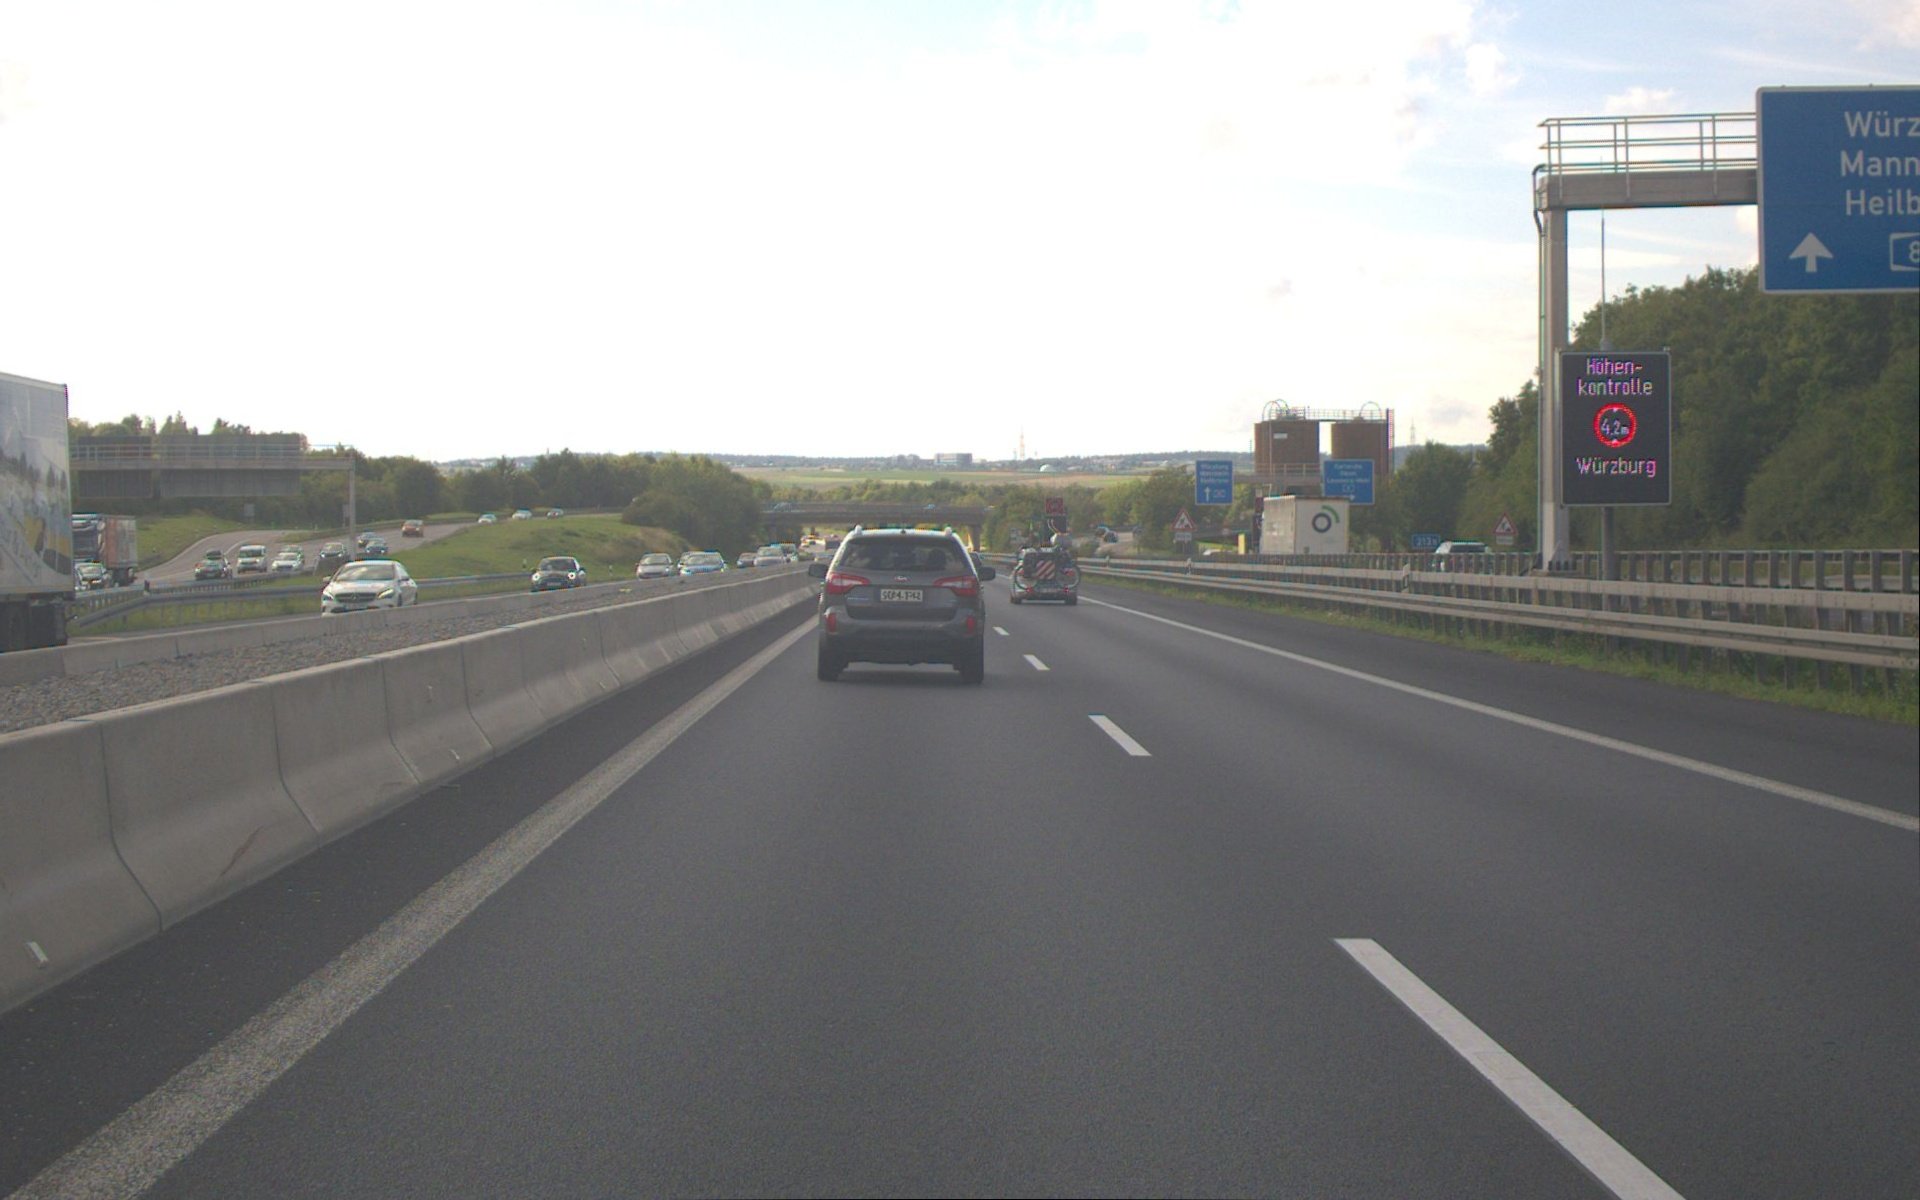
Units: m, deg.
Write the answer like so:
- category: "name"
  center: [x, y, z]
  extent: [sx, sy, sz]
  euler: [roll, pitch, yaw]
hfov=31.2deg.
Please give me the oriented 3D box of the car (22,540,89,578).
- category: "car"
  center: [-39.699, -1.796, 150.972]
  extent: [1.801, 1.612, 4.302]
  euler: [-1, 1, -1]

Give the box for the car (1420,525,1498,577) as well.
- category: "car"
  center: [17.029, -1.665, 117.521]
  extent: [1.993, 1.711, 4.000]
  euler: [-1, 1, -1]

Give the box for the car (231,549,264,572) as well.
- category: "car"
  center: [-50.045, -2.798, 241.457]
  extent: [1.772, 1.542, 4.891]
  euler: [-1, 1, -6]

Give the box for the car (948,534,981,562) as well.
- category: "car"
  center: [0.256, -3.320, 219.570]
  extent: [1.975, 1.773, 4.120]
  euler: [-1, 1, -1]

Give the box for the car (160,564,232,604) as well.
- category: "car"
  center: [-29.964, -0.624, 134.921]
  extent: [1.942, 1.489, 4.128]
  euler: [-1, 1, -1]

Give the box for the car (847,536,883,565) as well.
- category: "car"
  center: [-6.212, -3.216, 224.604]
  extent: [2.169, 1.837, 4.000]
  euler: [-1, 1, 1]

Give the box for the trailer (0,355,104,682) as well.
- category: "trailer"
  center: [-13.277, -0.983, 41.810]
  extent: [2.488, 4.115, 13.284]
  euler: [-1, 1, -1]

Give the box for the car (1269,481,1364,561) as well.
- category: "car"
  center: [16.930, -3.717, 163.864]
  extent: [3.576, 3.664, 7.549]
  euler: [-1, 1, -1]

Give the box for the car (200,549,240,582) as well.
- category: "car"
  center: [-44.798, -2.093, 208.235]
  extent: [1.772, 1.891, 4.399]
  euler: [-1, 1, -5]

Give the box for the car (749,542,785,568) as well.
- category: "car"
  center: [-12.035, -2.807, 214.747]
  extent: [1.993, 1.527, 5.022]
  euler: [-1, 1, -1]

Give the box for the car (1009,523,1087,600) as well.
- category: "car"
  center: [2.457, -1.072, 96.530]
  extent: [1.993, 2.073, 4.000]
  euler: [-1, 1, -1]

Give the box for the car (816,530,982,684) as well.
- category: "car"
  center: [-0.651, 0.053, 39.041]
  extent: [1.750, 1.625, 3.609]
  euler: [-1, 1, 1]

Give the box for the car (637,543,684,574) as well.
- category: "car"
  center: [-14.711, -2.043, 168.944]
  extent: [1.993, 1.451, 4.181]
  euler: [-1, 1, -1]

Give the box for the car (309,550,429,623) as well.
- category: "car"
  center: [-13.865, -0.340, 80.898]
  extent: [1.993, 1.612, 5.003]
  euler: [-1, 1, -1]

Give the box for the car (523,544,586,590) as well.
- category: "car"
  center: [-14.688, -1.208, 124.740]
  extent: [1.801, 1.612, 4.302]
  euler: [-1, 1, -1]

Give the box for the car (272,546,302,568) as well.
- category: "car"
  center: [-44.704, -2.857, 228.458]
  extent: [1.772, 1.395, 4.400]
  euler: [-1, 1, -9]
